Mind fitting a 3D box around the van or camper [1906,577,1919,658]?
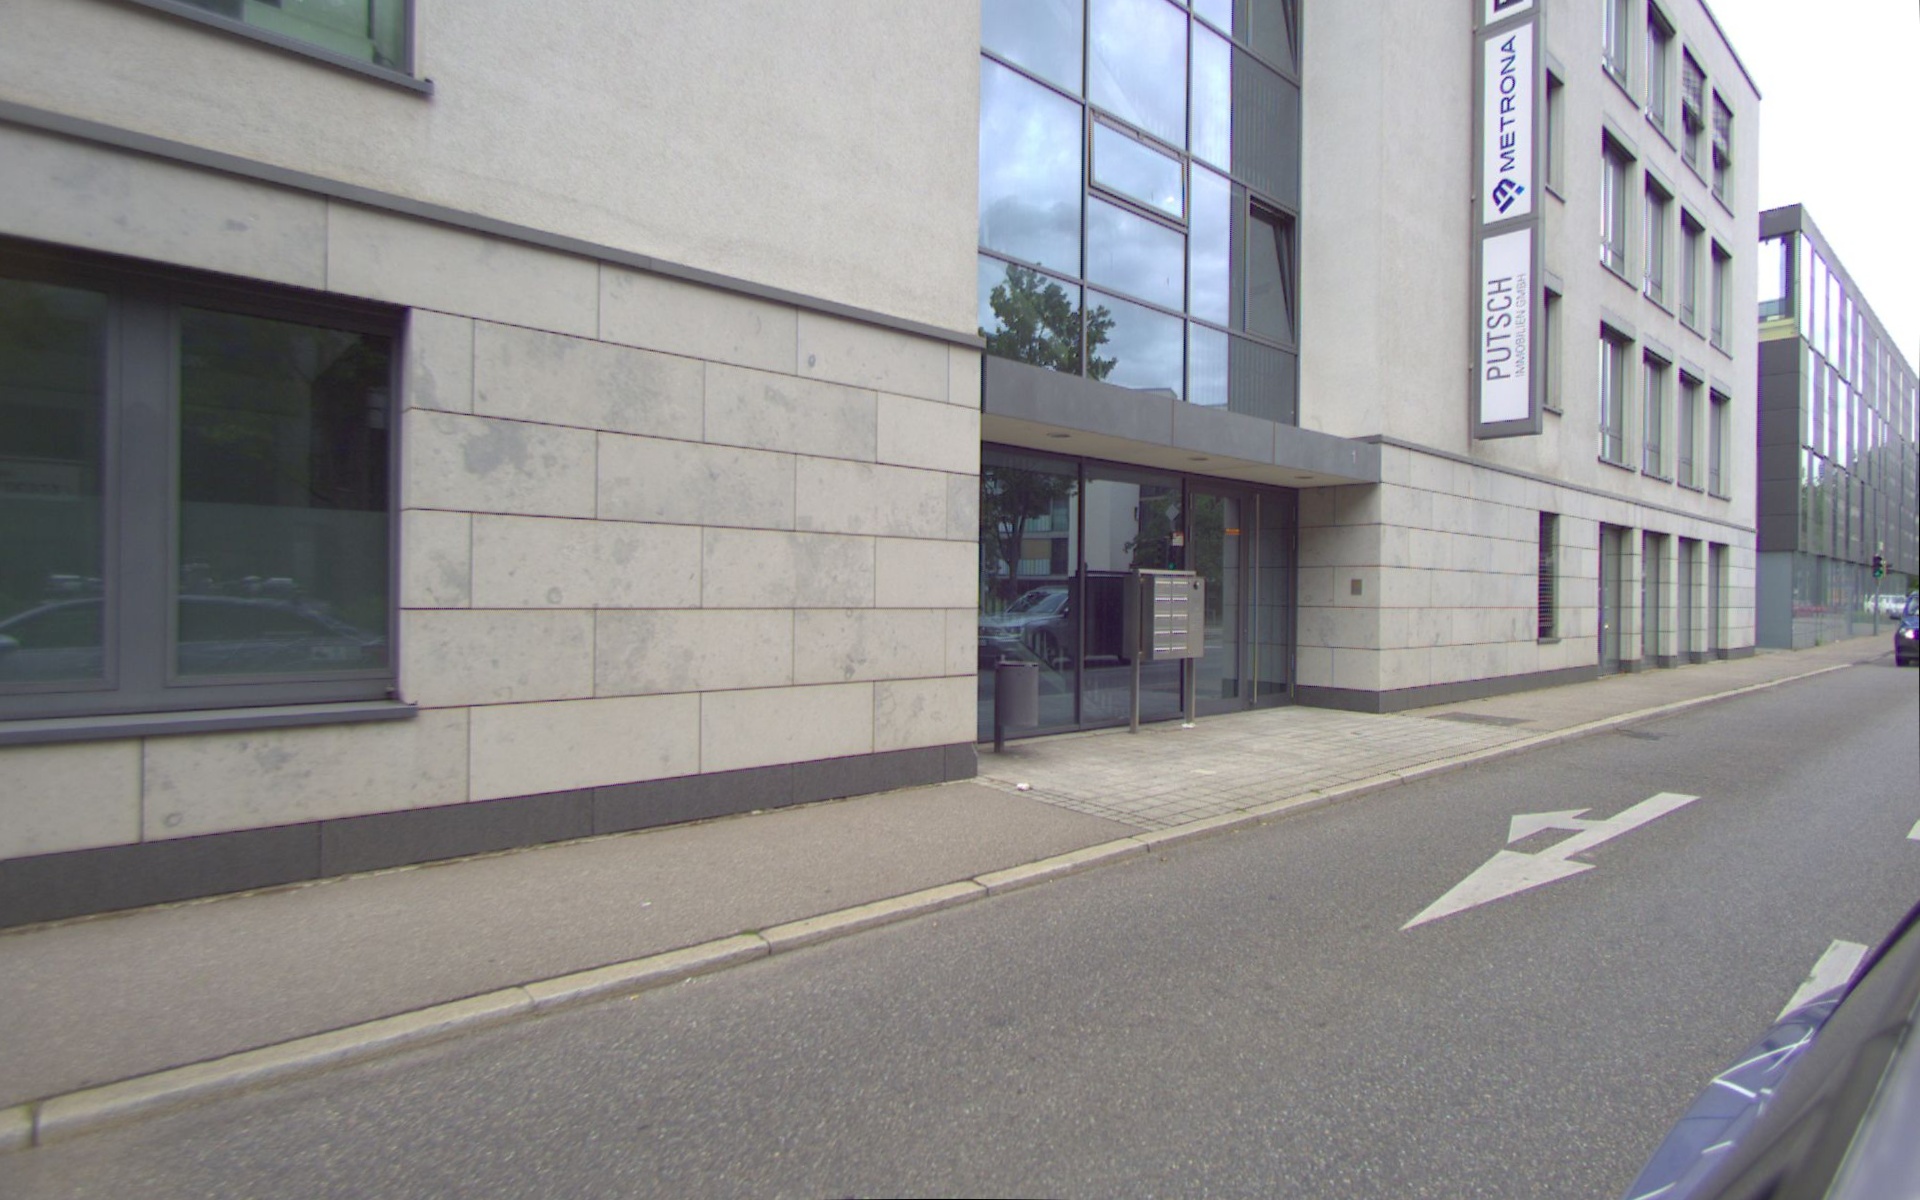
[{"bbox_3d":[25.036,0.423,25.079,4.944,1.935,1.863,0,1,-41],"label":"van or camper"}]
